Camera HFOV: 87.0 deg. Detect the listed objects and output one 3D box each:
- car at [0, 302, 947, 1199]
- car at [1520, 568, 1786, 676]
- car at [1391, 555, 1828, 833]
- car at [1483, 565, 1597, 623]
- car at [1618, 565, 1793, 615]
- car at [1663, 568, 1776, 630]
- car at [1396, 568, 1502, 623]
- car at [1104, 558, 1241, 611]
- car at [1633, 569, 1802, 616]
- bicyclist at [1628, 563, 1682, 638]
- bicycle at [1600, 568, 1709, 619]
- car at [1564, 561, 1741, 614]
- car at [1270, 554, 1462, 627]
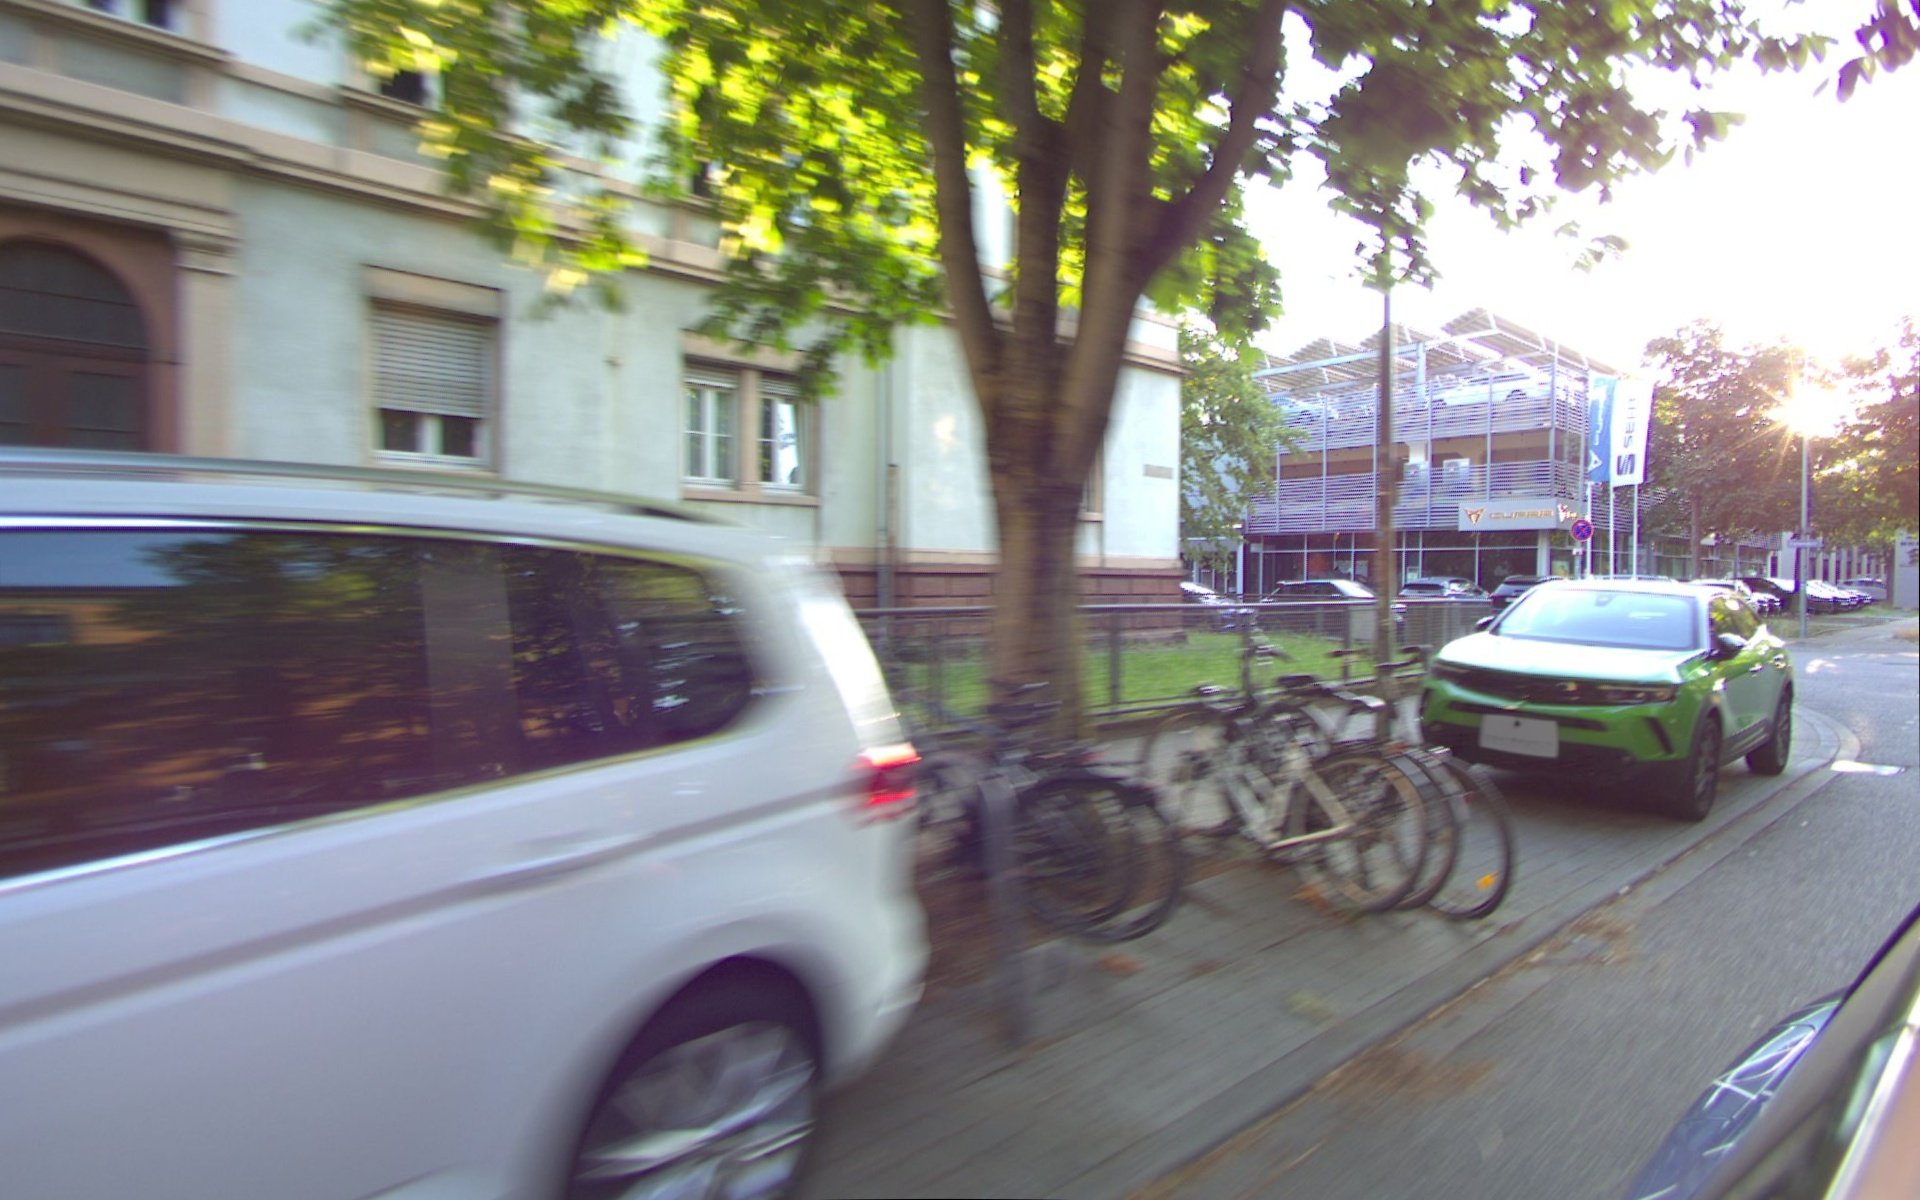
[{"bbox_3d":[-2.022,0.447,1.499,1.664,1.699,4.057,5,4,42],"label":"car"},{"bbox_3d":[11.371,0.298,17.026,1.780,1.520,4.167,-3,1,5],"label":"car"},{"bbox_3d":[5.167,0.523,7.864,3.892,1.575,1.735,0,4,-40],"label":"car"},{"bbox_3d":[17.813,-0.238,31.020,4.053,1.625,1.716,-2,2,-39],"label":"car"},{"bbox_3d":[25.624,-0.360,34.899,1.840,1.636,4.584,0,1,-41],"label":"car"},{"bbox_3d":[20.937,-0.068,27.862,3.835,1.591,1.765,-1,2,-42],"label":"car"},{"bbox_3d":[16.168,-0.201,33.399,3.627,1.611,1.706,-4,3,-37],"label":"car"},{"bbox_3d":[6.218,-0.476,29.897,1.604,1.452,3.781,1,1,-39],"label":"car"},{"bbox_3d":[27.106,-0.282,36.339,1.840,1.592,4.584,0,1,-41],"label":"car"},{"bbox_3d":[15.226,0.005,22.172,0.500,1.597,0.823,1,1,-36],"label":"bicyclist"},{"bbox_3d":[15.207,-0.175,22.215,0.528,1.046,1.909,-2,3,-31],"label":"bicycle"},{"bbox_3d":[23.122,-0.419,33.930,1.840,1.664,4.584,0,1,-41],"label":"car"},{"bbox_3d":[9.429,-0.278,23.765,1.603,1.564,3.941,-1,2,-37],"label":"car"}]
